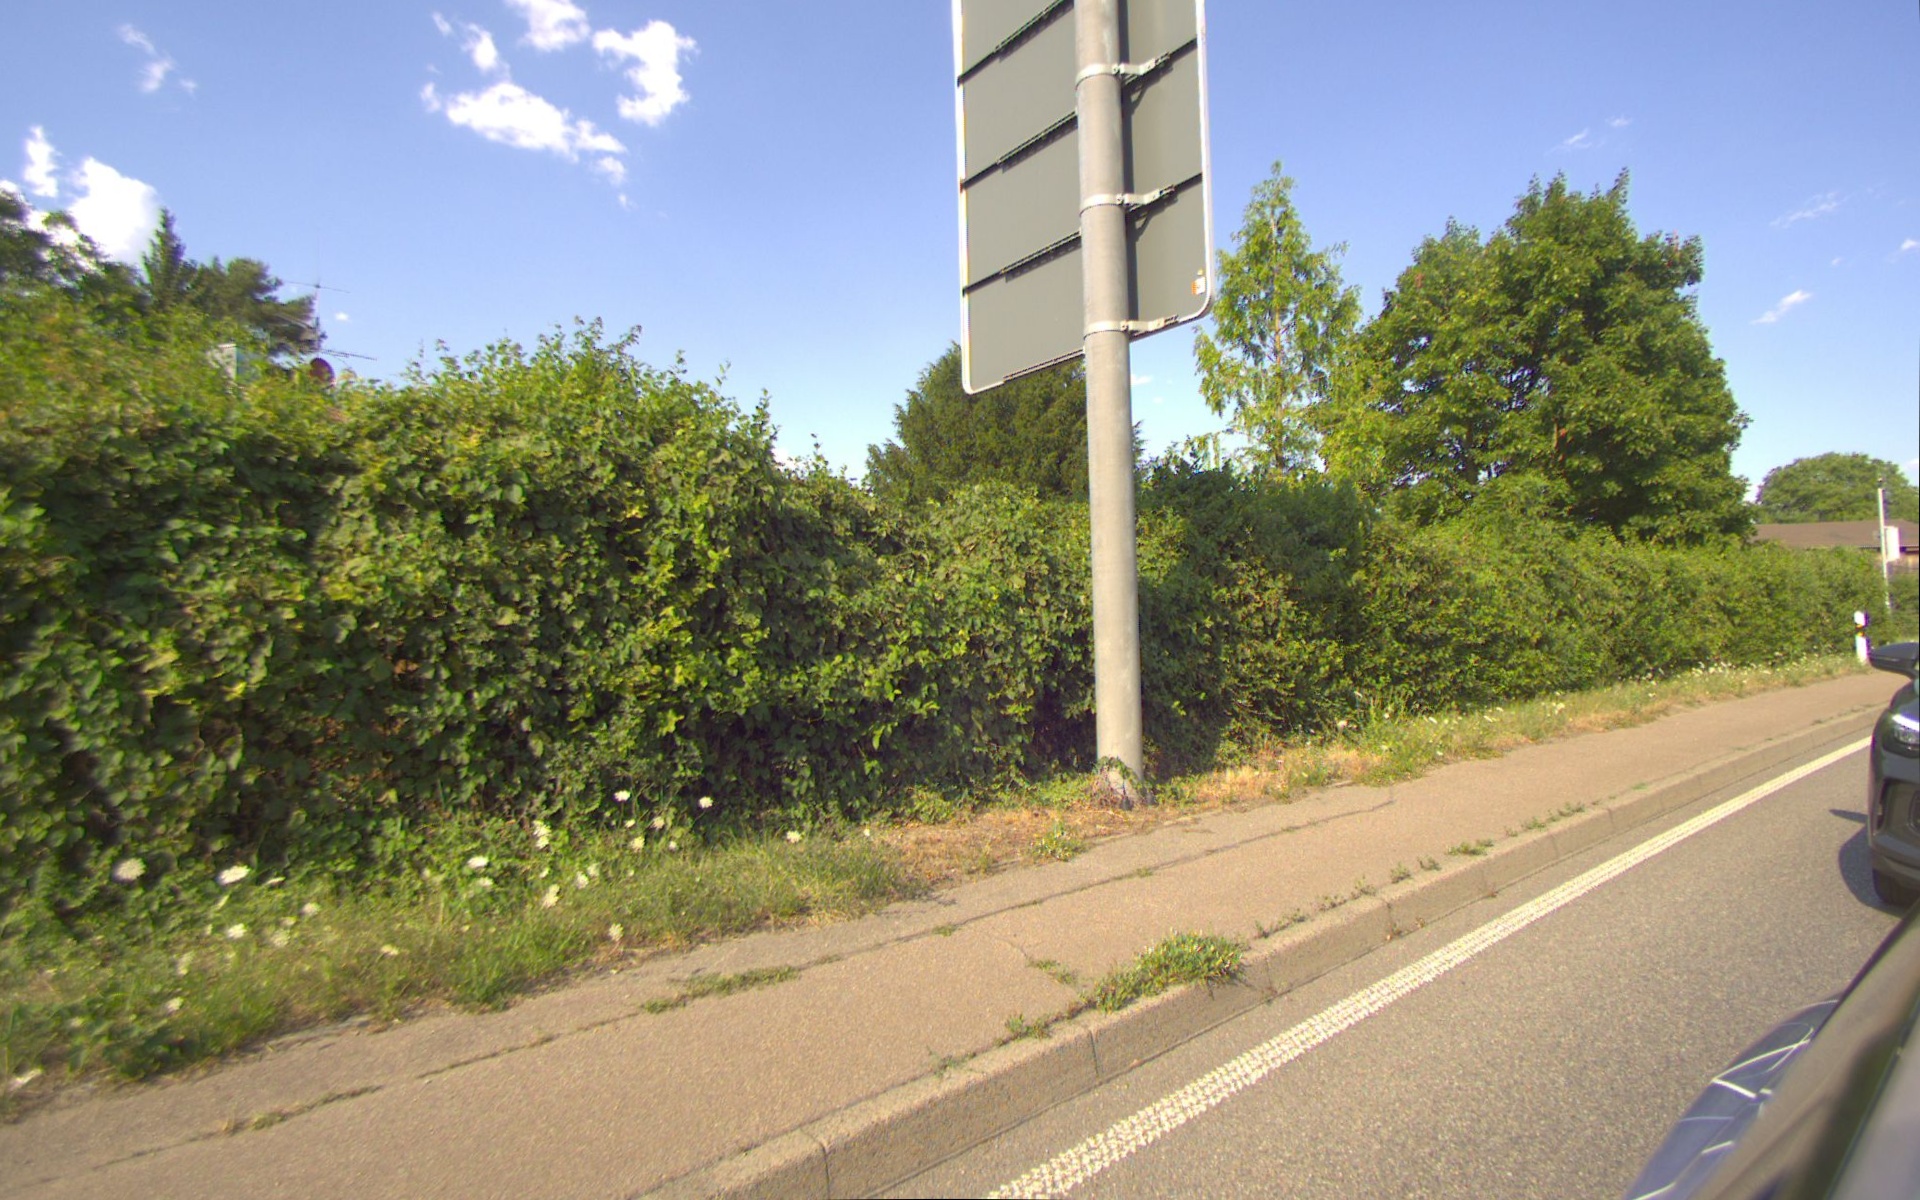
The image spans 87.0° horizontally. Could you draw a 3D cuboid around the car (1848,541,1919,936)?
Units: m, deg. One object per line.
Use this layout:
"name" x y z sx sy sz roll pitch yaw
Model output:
"car" 5.981 0.553 4.991 3.931 1.662 1.865 -2 2 -41
